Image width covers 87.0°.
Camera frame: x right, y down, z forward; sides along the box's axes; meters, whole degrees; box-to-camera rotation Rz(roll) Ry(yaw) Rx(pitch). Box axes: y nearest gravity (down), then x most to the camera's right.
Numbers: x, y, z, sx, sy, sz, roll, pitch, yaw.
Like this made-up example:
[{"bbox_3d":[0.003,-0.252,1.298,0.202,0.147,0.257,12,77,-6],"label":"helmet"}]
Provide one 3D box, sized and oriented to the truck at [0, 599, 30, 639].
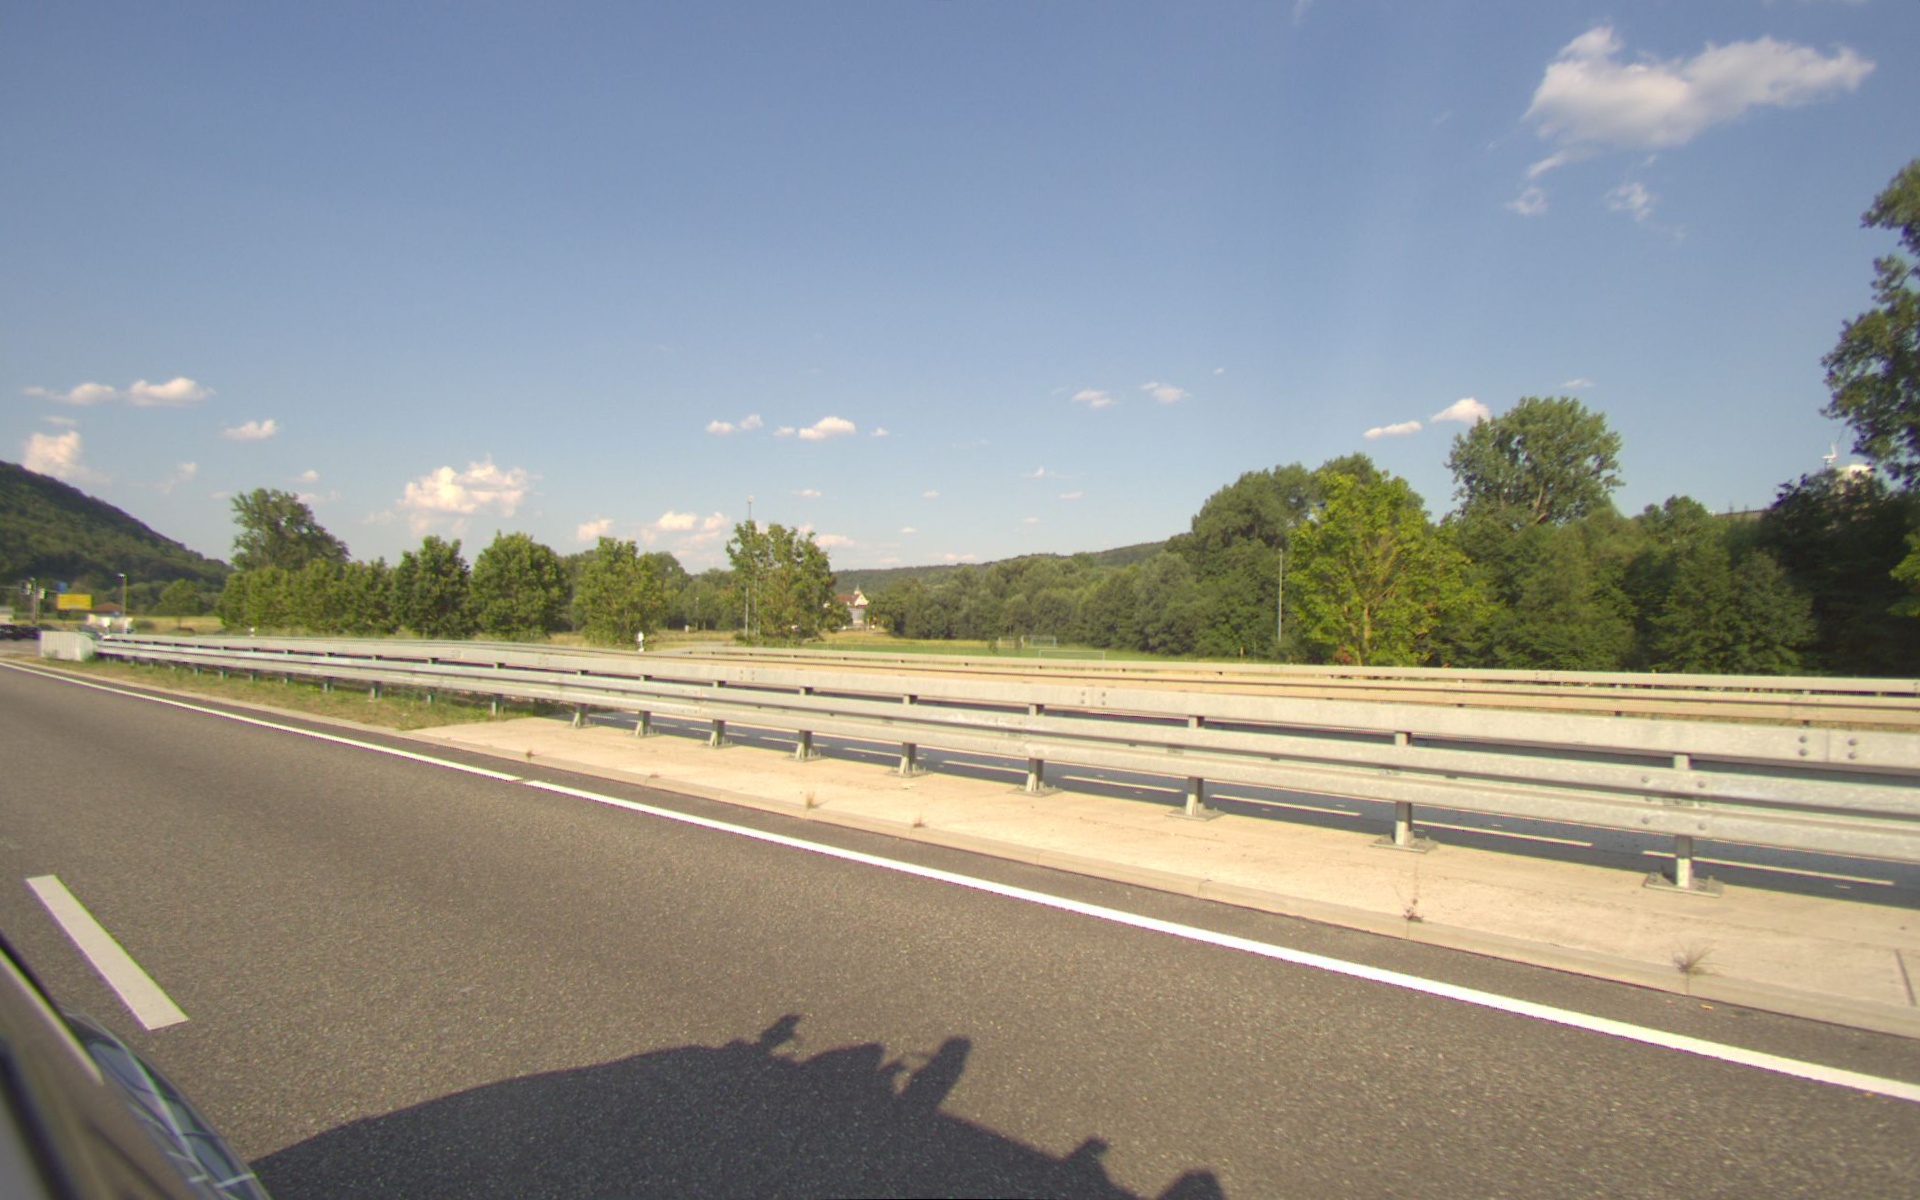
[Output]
[{"bbox_3d":[-94.723,1.799,100.017,10.495,3.718,2.902,0,-3,42],"label":"truck"}]
